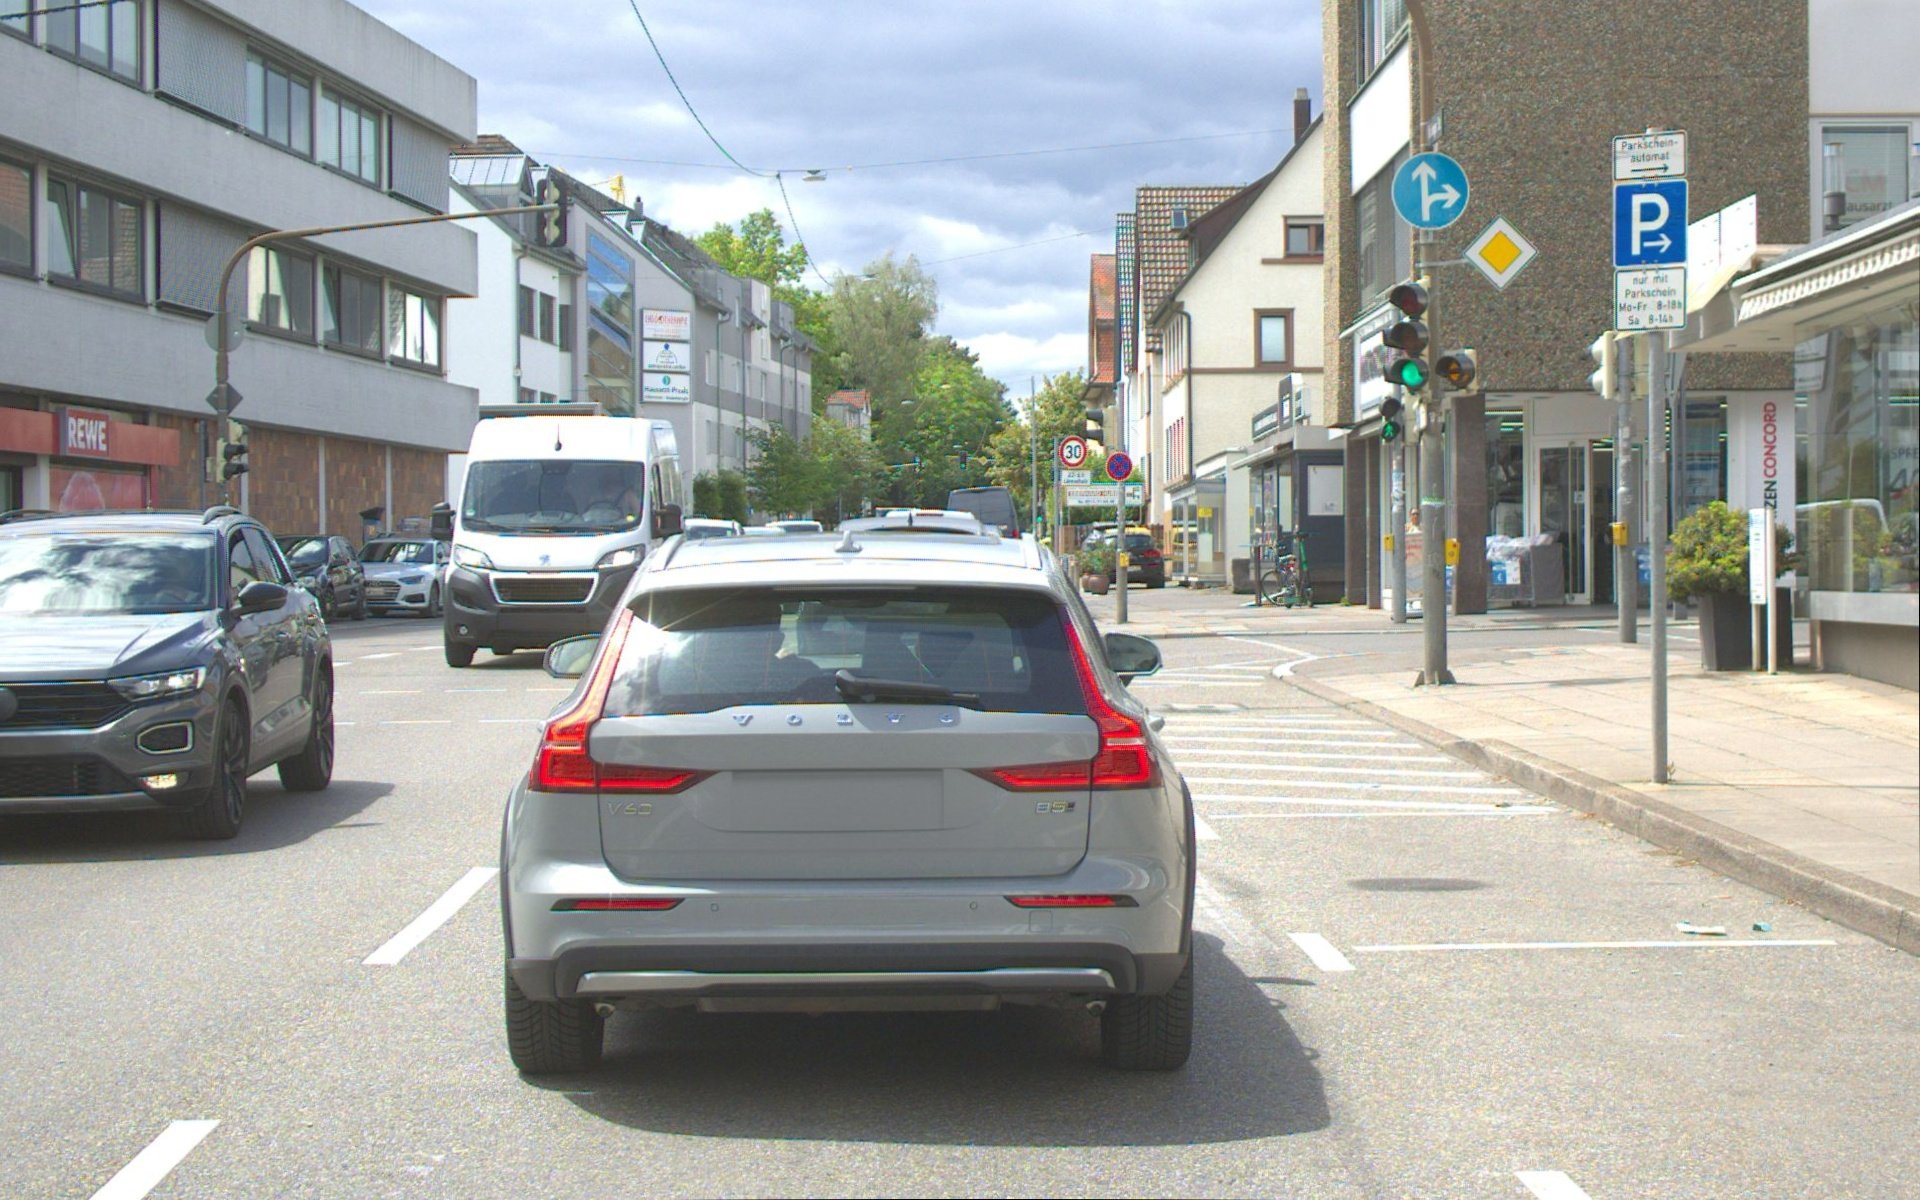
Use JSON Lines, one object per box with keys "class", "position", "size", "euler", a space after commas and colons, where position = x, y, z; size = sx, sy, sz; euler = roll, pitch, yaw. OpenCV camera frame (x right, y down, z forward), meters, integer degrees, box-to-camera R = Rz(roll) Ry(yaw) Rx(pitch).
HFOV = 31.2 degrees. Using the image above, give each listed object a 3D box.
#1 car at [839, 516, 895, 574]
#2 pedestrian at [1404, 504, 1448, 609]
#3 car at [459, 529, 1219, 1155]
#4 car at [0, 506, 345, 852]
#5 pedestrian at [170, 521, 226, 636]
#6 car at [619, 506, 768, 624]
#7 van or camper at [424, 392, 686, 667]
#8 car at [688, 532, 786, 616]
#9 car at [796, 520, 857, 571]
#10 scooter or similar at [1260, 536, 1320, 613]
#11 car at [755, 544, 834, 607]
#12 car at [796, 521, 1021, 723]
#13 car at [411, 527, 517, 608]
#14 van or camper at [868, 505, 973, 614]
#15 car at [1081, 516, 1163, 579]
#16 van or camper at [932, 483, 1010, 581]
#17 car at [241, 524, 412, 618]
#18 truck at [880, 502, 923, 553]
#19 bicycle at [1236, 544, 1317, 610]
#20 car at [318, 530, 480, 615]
{"class": "car", "position": [-3.151, -1.860, 117.267], "size": [1.838, 1.911, 4.156], "euler": [0, 1, 0]}
{"class": "pedestrian", "position": [6.600, -0.612, 48.677], "size": [0.504, 1.454, 0.500], "euler": [-3, 0, 13]}
{"class": "car", "position": [-0.310, 0.545, 10.325], "size": [1.836, 1.481, 4.000], "euler": [0, 2, -1]}
{"class": "car", "position": [-4.264, 0.305, 17.088], "size": [1.790, 1.506, 3.845], "euler": [-1, 2, -1]}
{"class": "pedestrian", "position": [-10.998, -0.319, 49.609], "size": [0.619, 1.636, 0.660], "euler": [-1, 1, 1]}
{"class": "car", "position": [-3.947, -0.551, 51.570], "size": [1.780, 1.634, 4.220], "euler": [-2, 1, 1]}
{"class": "van or camper", "position": [-4.028, -0.747, 35.091], "size": [2.148, 2.547, 5.439], "euler": [-1, 2, -2]}
{"class": "car", "position": [-4.422, -0.513, 68.550], "size": [1.789, 1.584, 4.101], "euler": [-1, 0, -2]}
{"class": "car", "position": [-4.105, -1.693, 106.425], "size": [1.668, 1.548, 4.215], "euler": [0, 1, 1]}
{"class": "scooter or similar", "position": [5.552, -0.423, 57.894], "size": [0.340, 1.249, 1.246], "euler": [-3, 0, -26]}
{"class": "car", "position": [-4.044, -0.615, 84.615], "size": [1.683, 1.492, 3.967], "euler": [-1, 0, 1]}
{"class": "car", "position": [-0.397, 0.144, 27.183], "size": [1.650, 1.477, 3.607], "euler": [0, 1, 0]}
{"class": "car", "position": [-9.832, -0.666, 68.268], "size": [1.607, 1.538, 2.944], "euler": [1, 1, 1]}
{"class": "van or camper", "position": [-0.697, -0.694, 61.450], "size": [1.819, 1.828, 4.000], "euler": [0, -1, 0]}
{"class": "car", "position": [4.029, -1.298, 85.797], "size": [1.710, 1.459, 4.000], "euler": [0, 0, -2]}
{"class": "van or camper", "position": [0.339, -1.933, 97.736], "size": [2.123, 2.677, 4.781], "euler": [-1, 1, 1]}
{"class": "car", "position": [-10.392, -0.489, 56.662], "size": [1.785, 1.459, 4.086], "euler": [1, 1, 4]}
{"class": "truck", "position": [-3.372, -4.188, 199.371], "size": [2.276, 2.876, 7.079], "euler": [-1, 1, 1]}
{"class": "bicycle", "position": [5.591, -0.413, 60.776], "size": [0.554, 1.140, 2.301], "euler": [-1, 1, -18]}
{"class": "car", "position": [-10.133, -0.523, 62.372], "size": [1.904, 1.438, 4.442], "euler": [1, 1, 4]}
